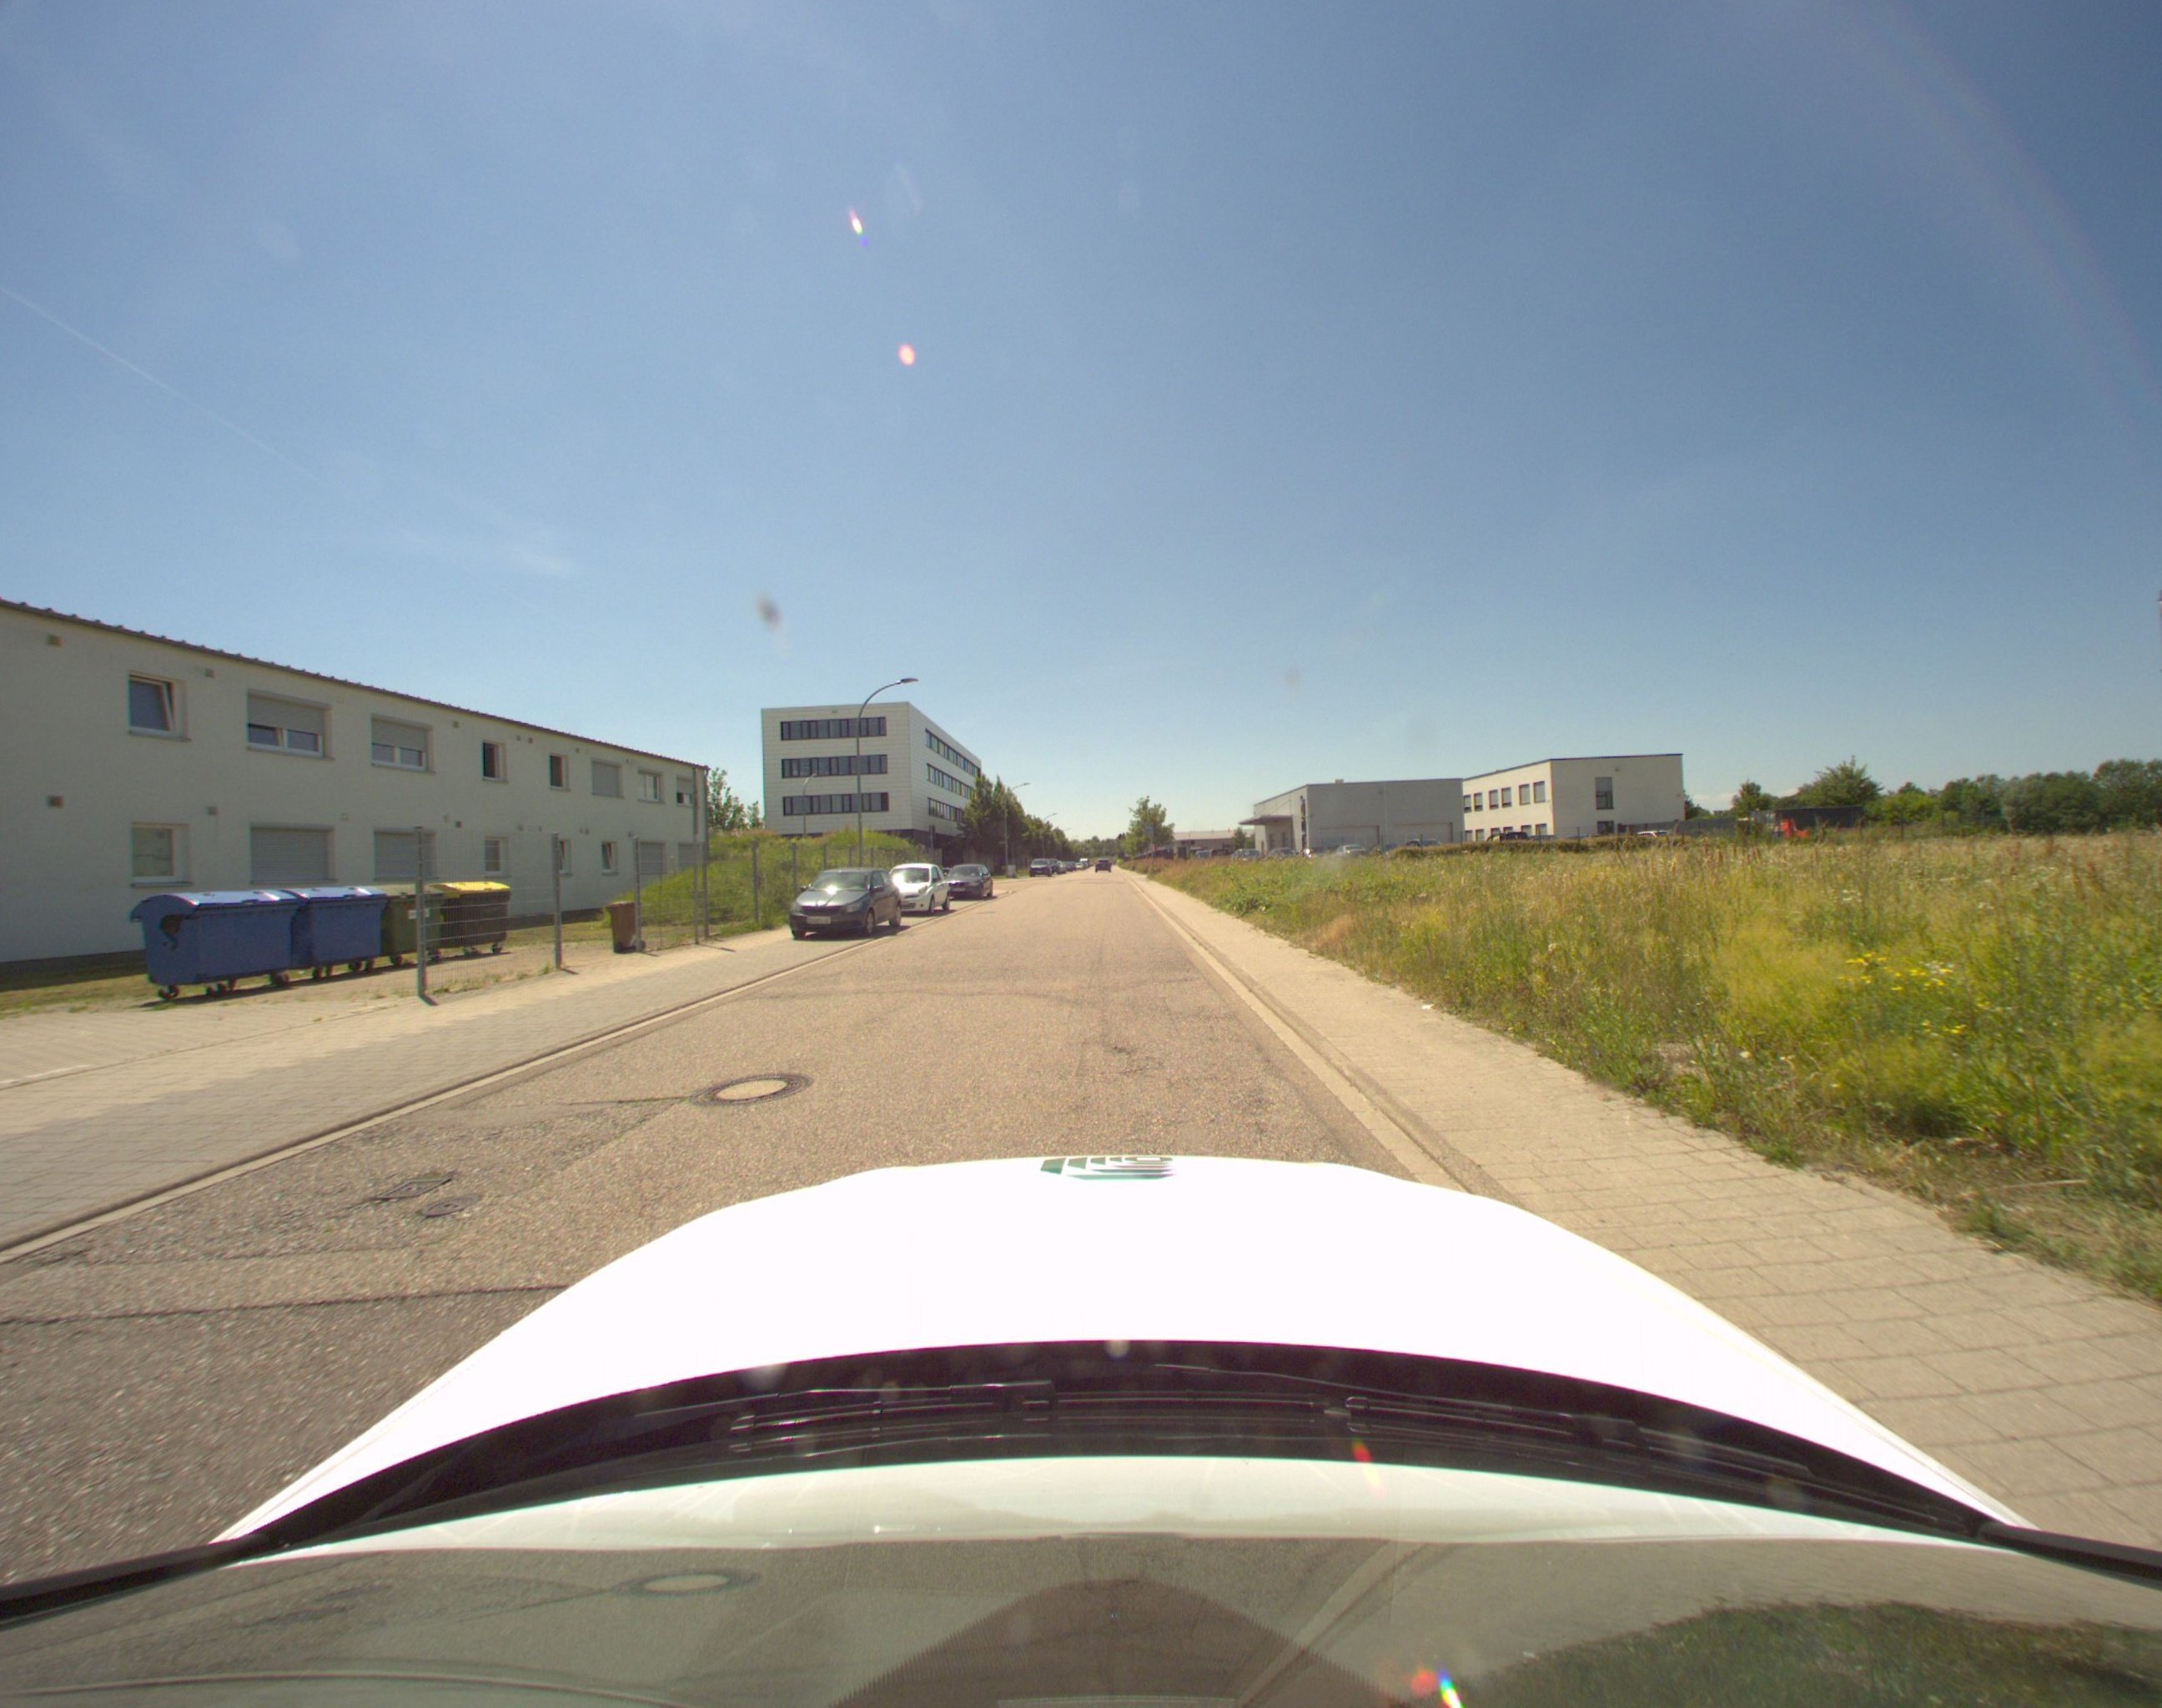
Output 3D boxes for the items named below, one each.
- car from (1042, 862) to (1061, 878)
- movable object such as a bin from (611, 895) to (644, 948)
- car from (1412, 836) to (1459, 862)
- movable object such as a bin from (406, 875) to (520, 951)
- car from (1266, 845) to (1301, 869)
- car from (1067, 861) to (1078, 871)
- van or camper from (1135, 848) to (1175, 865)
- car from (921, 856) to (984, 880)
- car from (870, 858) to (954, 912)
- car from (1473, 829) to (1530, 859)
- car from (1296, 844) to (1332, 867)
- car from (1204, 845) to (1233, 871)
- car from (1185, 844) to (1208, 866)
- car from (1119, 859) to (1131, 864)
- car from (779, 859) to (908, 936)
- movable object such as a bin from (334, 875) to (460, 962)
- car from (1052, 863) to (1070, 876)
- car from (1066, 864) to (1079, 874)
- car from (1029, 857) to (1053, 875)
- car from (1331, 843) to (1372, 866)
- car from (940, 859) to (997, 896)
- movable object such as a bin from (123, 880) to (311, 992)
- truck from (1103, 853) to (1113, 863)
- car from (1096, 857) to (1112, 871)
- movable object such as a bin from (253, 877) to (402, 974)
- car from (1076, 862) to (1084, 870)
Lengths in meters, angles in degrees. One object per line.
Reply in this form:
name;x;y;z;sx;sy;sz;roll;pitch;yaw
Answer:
car;-3.097;1.708;86.461;1.764;1.624;4.583;-1;-1;2
movable object such as a bin;-8.452;1.248;15.199;0.303;0.940;0.497;-1;-1;4
car;23.961;-0.319;55.193;1.509;1.634;3.784;-3;-1;1
movable object such as a bin;-12.221;1.142;16.167;1.137;1.405;1.389;-1;-1;4
car;13.562;0.188;54.627;1.509;1.496;3.332;-3;-1;1
car;-1.445;2.049;139.160;1.765;1.611;4.247;-1;-1;1
van or camper;13.102;0.449;144.152;6.734;2.585;2.636;-2;-1;0
car;-8.883;0.958;56.561;1.754;1.588;4.101;-3;-1;42
car;-5.107;0.914;25.032;1.668;1.530;3.759;-1;-1;2
car;28.781;-0.636;55.838;1.742;1.847;4.126;-3;-1;1
car;15.705;0.106;55.009;1.452;1.413;3.332;-3;-1;1
car;9.120;0.285;54.038;1.461;1.574;2.662;-3;-1;2
car;12.079;0.123;85.481;1.870;2.087;4.227;-3;-1;2
car;13.989;2.387;259.304;3.864;1.750;1.751;0;-1;-1
car;-5.252;0.911;18.539;1.668;1.530;3.911;-1;-1;2
movable object such as a bin;-12.316;1.124;14.723;1.084;1.448;1.389;-1;-1;0
car;-2.294;1.810;93.477;1.764;1.431;4.202;-1;-1;2
car;-1.205;2.207;121.458;1.764;1.431;4.202;-1;-1;2
car;-3.611;1.078;73.567;1.764;1.588;4.482;-2;-1;2
car;18.037;0.063;54.390;1.509;1.397;3.540;-3;-1;1
car;-4.598;0.955;33.834;1.668;1.450;4.070;-1;-1;2
movable object such as a bin;-12.326;1.131;11.687;1.138;1.448;1.435;-1;-1;4
truck;8.161;1.143;243.891;2.921;2.974;6.422;0;-1;2
car;2.702;1.134;93.886;1.783;1.623;3.810;0;-1;2
movable object such as a bin;-12.242;1.127;13.292;1.119;1.448;1.373;-1;-1;4
car;-0.197;2.500;170.401;1.715;1.476;3.856;-1;-1;-1
